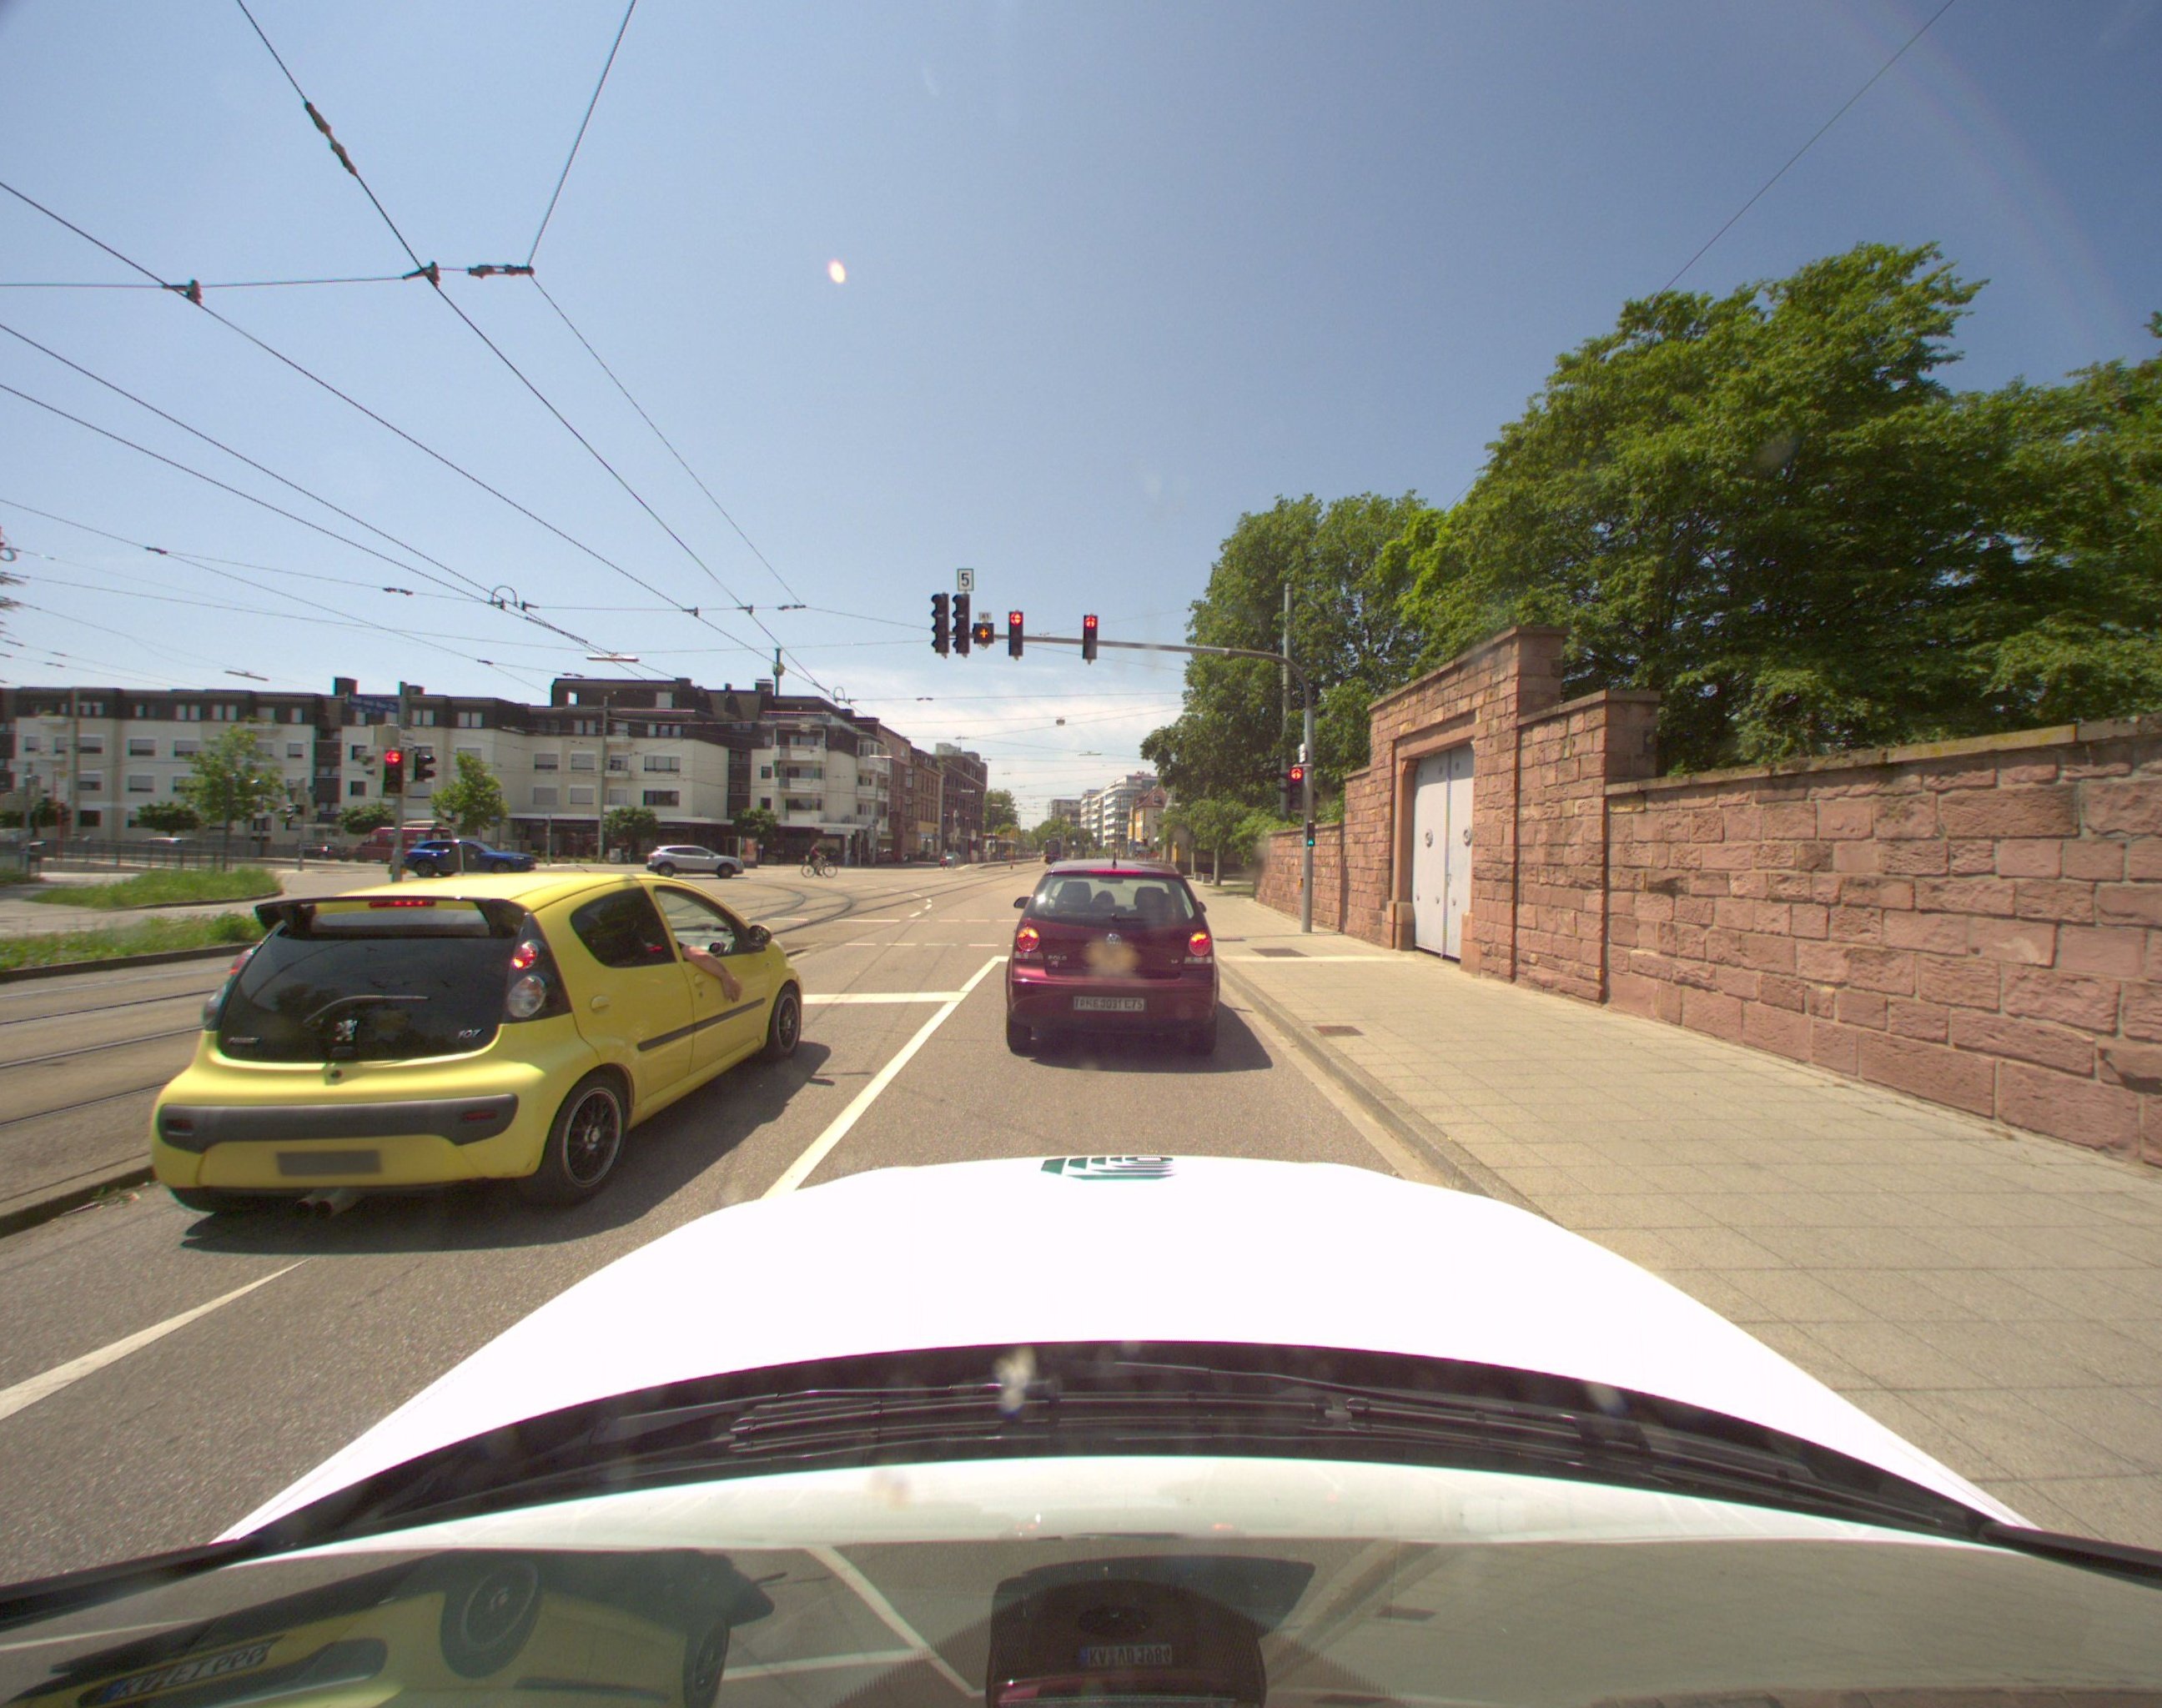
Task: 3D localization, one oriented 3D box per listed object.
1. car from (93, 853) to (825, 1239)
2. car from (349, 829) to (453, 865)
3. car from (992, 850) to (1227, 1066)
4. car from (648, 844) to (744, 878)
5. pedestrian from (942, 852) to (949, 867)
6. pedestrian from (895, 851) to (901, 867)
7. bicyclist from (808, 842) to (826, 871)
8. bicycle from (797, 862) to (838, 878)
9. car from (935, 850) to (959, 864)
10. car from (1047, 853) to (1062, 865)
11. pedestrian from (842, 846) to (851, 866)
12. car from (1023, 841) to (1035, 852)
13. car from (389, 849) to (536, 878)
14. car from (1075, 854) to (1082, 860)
[{"bbox_3d":[-2.932,0.747,4.808,1.717,1.445,3.293,-1,0,1],"label":"car"},{"bbox_3d":[-45.543,-0.456,54.641,5.048,2.341,2.244,0,-1,0],"label":"car"},{"bbox_3d":[0.225,0.720,7.684,1.604,1.463,4.085,1,0,1],"label":"car"},{"bbox_3d":[-18.871,0.340,39.995,4.162,1.584,1.922,0,-1,-28],"label":"car"},{"bbox_3d":[-16.482,0.717,98.870,0.659,1.787,0.815,1,0,1],"label":"pedestrian"},{"bbox_3d":[-18.391,0.521,81.663,0.482,1.541,0.538,0,-1,-2],"label":"pedestrian"},{"bbox_3d":[-13.795,0.116,42.531,0.756,1.501,0.476,0,-1,-38],"label":"bicyclist"},{"bbox_3d":[-13.780,0.837,42.651,1.996,0.783,0.461,0,-1,-38],"label":"bicycle"},{"bbox_3d":[-14.184,0.325,86.416,1.682,1.462,4.003,1,0,3],"label":"car"},{"bbox_3d":[-3.829,0.686,116.832,1.931,1.641,4.000,0,-1,1],"label":"car"},{"bbox_3d":[-20.588,0.149,71.417,0.614,1.754,0.499,1,-1,-43],"label":"pedestrian"},{"bbox_3d":[-9.815,-1.426,154.243,1.728,2.013,4.002,1,0,2],"label":"car"},{"bbox_3d":[-27.070,0.417,35.872,4.786,1.237,1.926,0,-1,-21],"label":"car"},{"bbox_3d":[-0.599,0.659,195.712,1.567,1.415,3.721,-1,0,1],"label":"car"}]
